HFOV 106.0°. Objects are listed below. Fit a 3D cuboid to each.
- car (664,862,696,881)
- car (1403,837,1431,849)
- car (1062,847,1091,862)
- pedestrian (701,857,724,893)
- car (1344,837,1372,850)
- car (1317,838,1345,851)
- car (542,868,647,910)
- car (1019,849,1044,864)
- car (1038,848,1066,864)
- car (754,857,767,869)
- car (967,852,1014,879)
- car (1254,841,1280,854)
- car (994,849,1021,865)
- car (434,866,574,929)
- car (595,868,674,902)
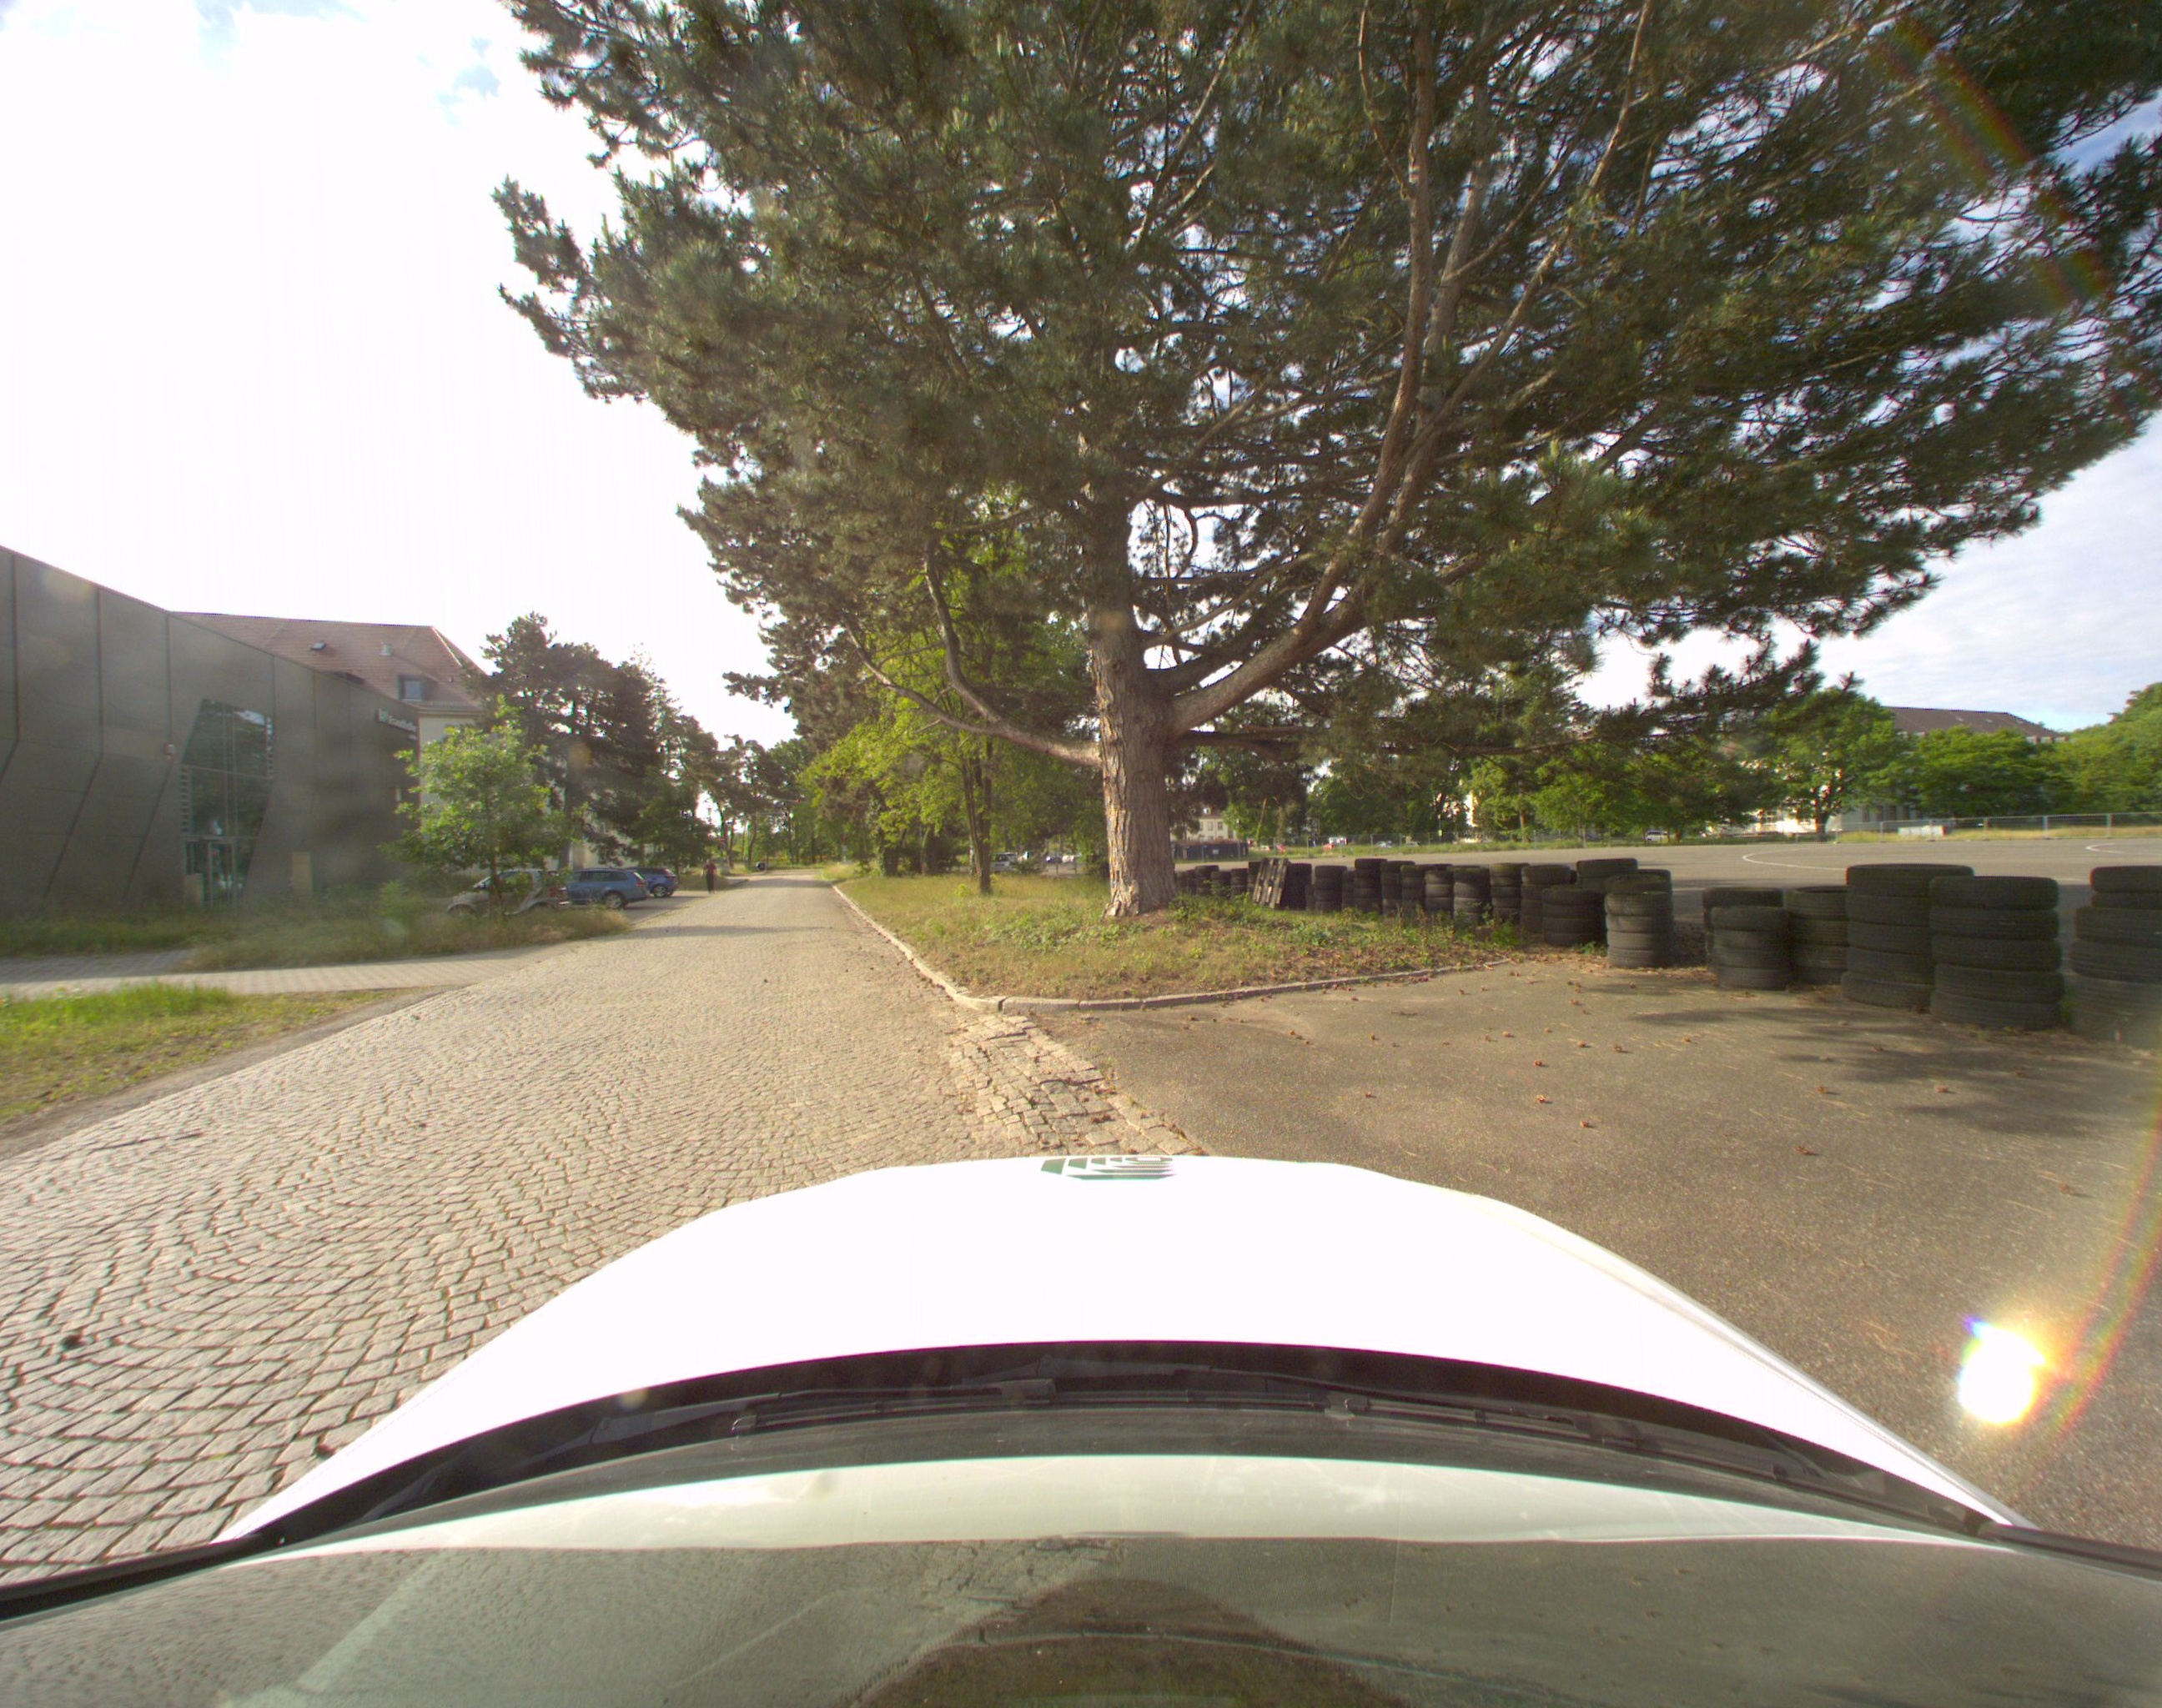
[{"bbox_3d":[-36.449,1.544,74.092,2.000,1.618,3.975,-2,0,-19],"label":"car"},{"bbox_3d":[49.715,-1.635,120.422,1.993,1.750,3.987,-2,0,-9],"label":"car"},{"bbox_3d":[-0.511,0.033,91.341,2.000,1.618,3.975,-2,0,-19],"label":"car"},{"bbox_3d":[-19.511,1.093,43.104,0.963,1.844,0.946,-2,0,-33],"label":"pedestrian"},{"bbox_3d":[39.751,-1.460,117.081,1.995,1.750,3.984,-2,0,-12],"label":"car"},{"bbox_3d":[35.346,-1.317,115.361,1.996,1.750,3.982,-2,0,-13],"label":"car"},{"bbox_3d":[-17.617,1.235,29.630,3.098,1.457,1.480,0,-1,-24],"label":"car"},{"bbox_3d":[-5.485,0.264,88.947,1.825,1.618,3.977,-2,0,-17],"label":"car"},{"bbox_3d":[-3.183,0.205,90.068,2.000,1.618,3.975,-2,0,-19],"label":"car"},{"bbox_3d":[-54.441,1.470,138.425,1.703,2.013,3.975,-2,0,-19],"label":"car"},{"bbox_3d":[-5.493,0.671,49.172,1.893,1.541,3.972,-2,0,-21],"label":"car"},{"bbox_3d":[25.585,-0.851,112.121,1.996,1.750,3.981,-2,0,-14],"label":"car"},{"bbox_3d":[-7.951,0.373,87.799,2.000,1.618,3.975,-2,0,-19],"label":"car"},{"bbox_3d":[-15.872,1.163,22.531,2.765,1.549,1.418,-2,0,-16],"label":"car"},{"bbox_3d":[-20.920,1.428,38.294,3.099,1.450,1.479,-2,0,-25],"label":"car"}]
